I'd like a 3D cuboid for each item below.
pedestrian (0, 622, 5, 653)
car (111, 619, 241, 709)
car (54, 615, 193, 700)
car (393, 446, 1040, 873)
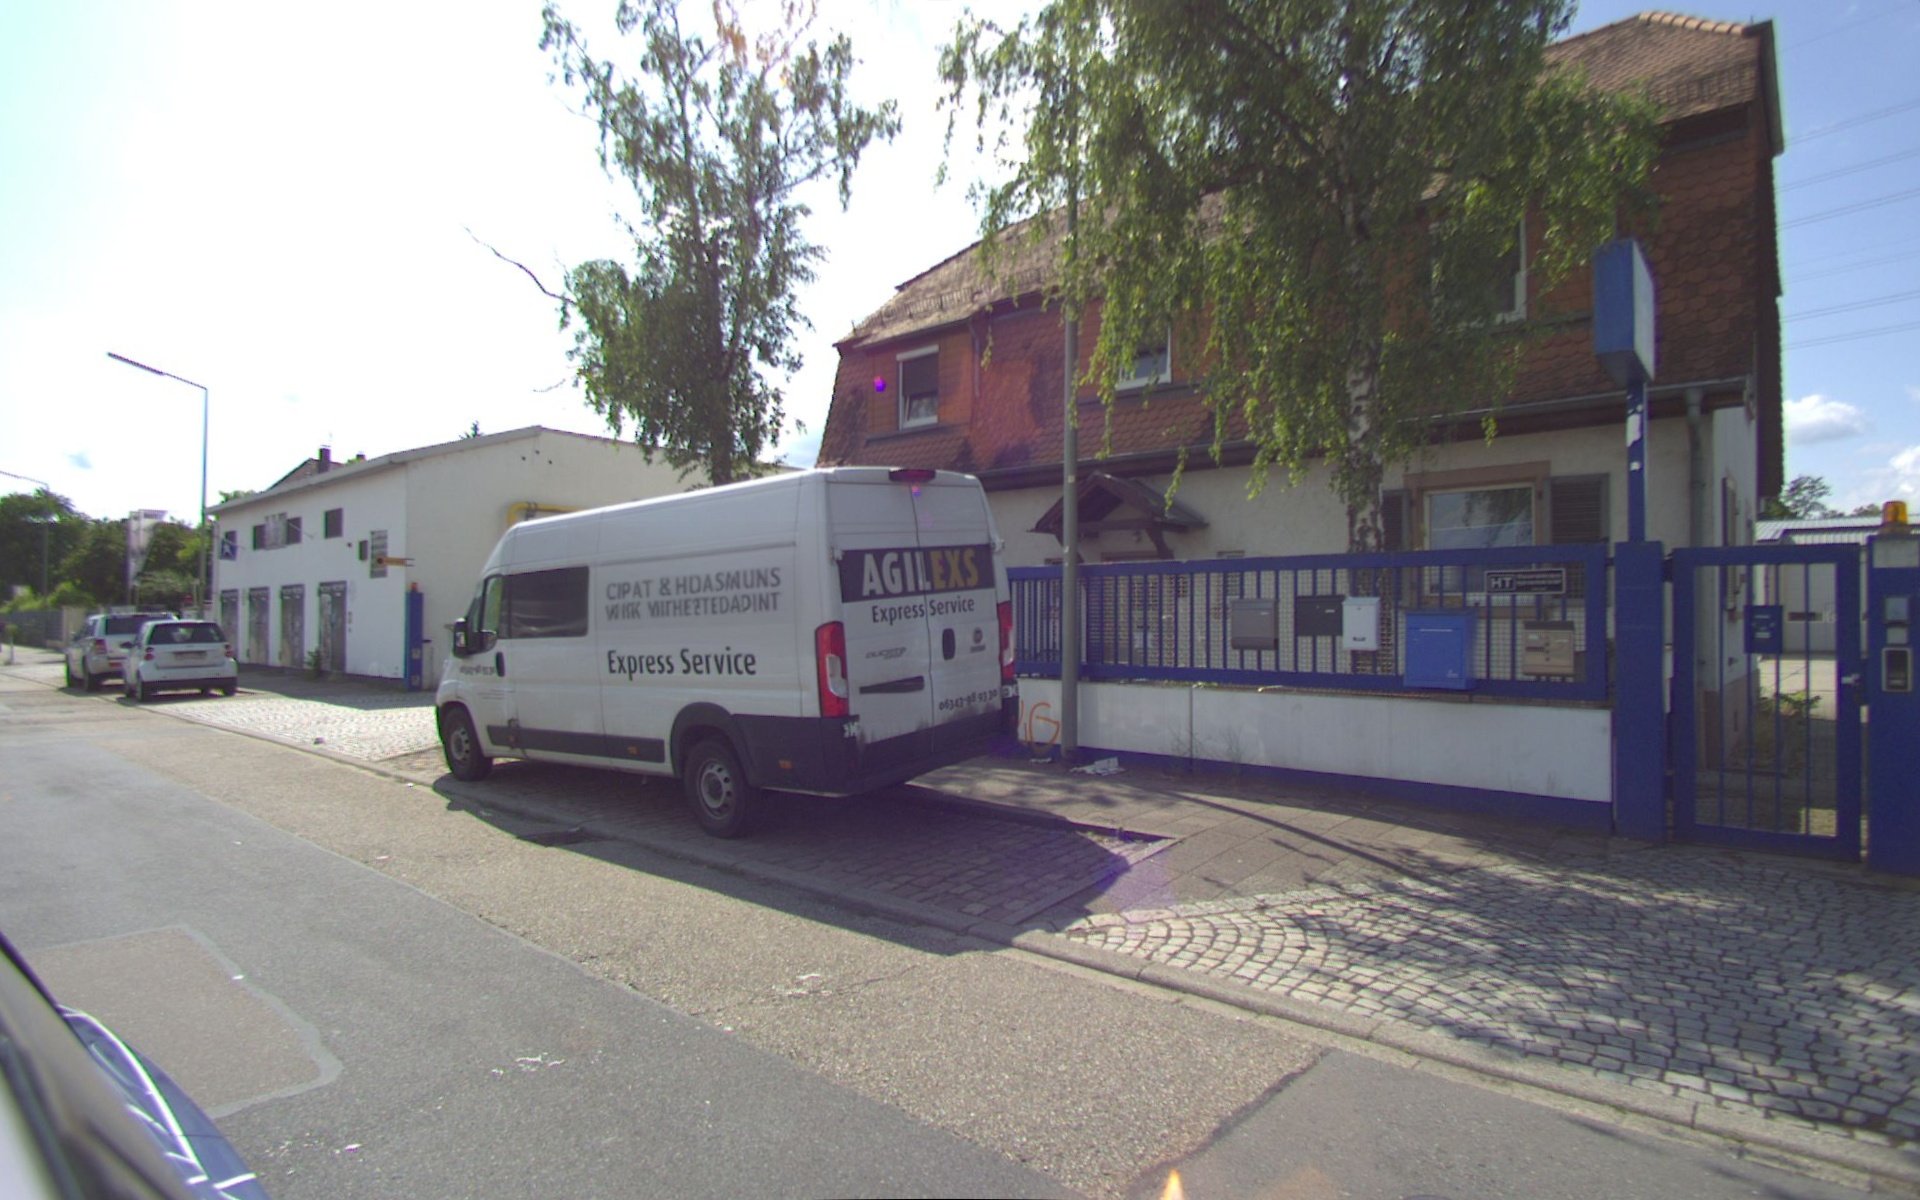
[{"bbox_3d":[-57.274,2.207,60.101,0.915,1.814,0.700,-1,-2,41],"label":"pedestrian"},{"bbox_3d":[-15.964,1.239,20.568,3.009,1.585,1.592,-2,1,43],"label":"car"},{"bbox_3d":[-19.660,1.268,23.716,4.749,1.732,1.772,-1,0,41],"label":"car"},{"bbox_3d":[-2.601,0.373,9.012,6.651,2.577,2.010,-1,0,40],"label":"car"}]
